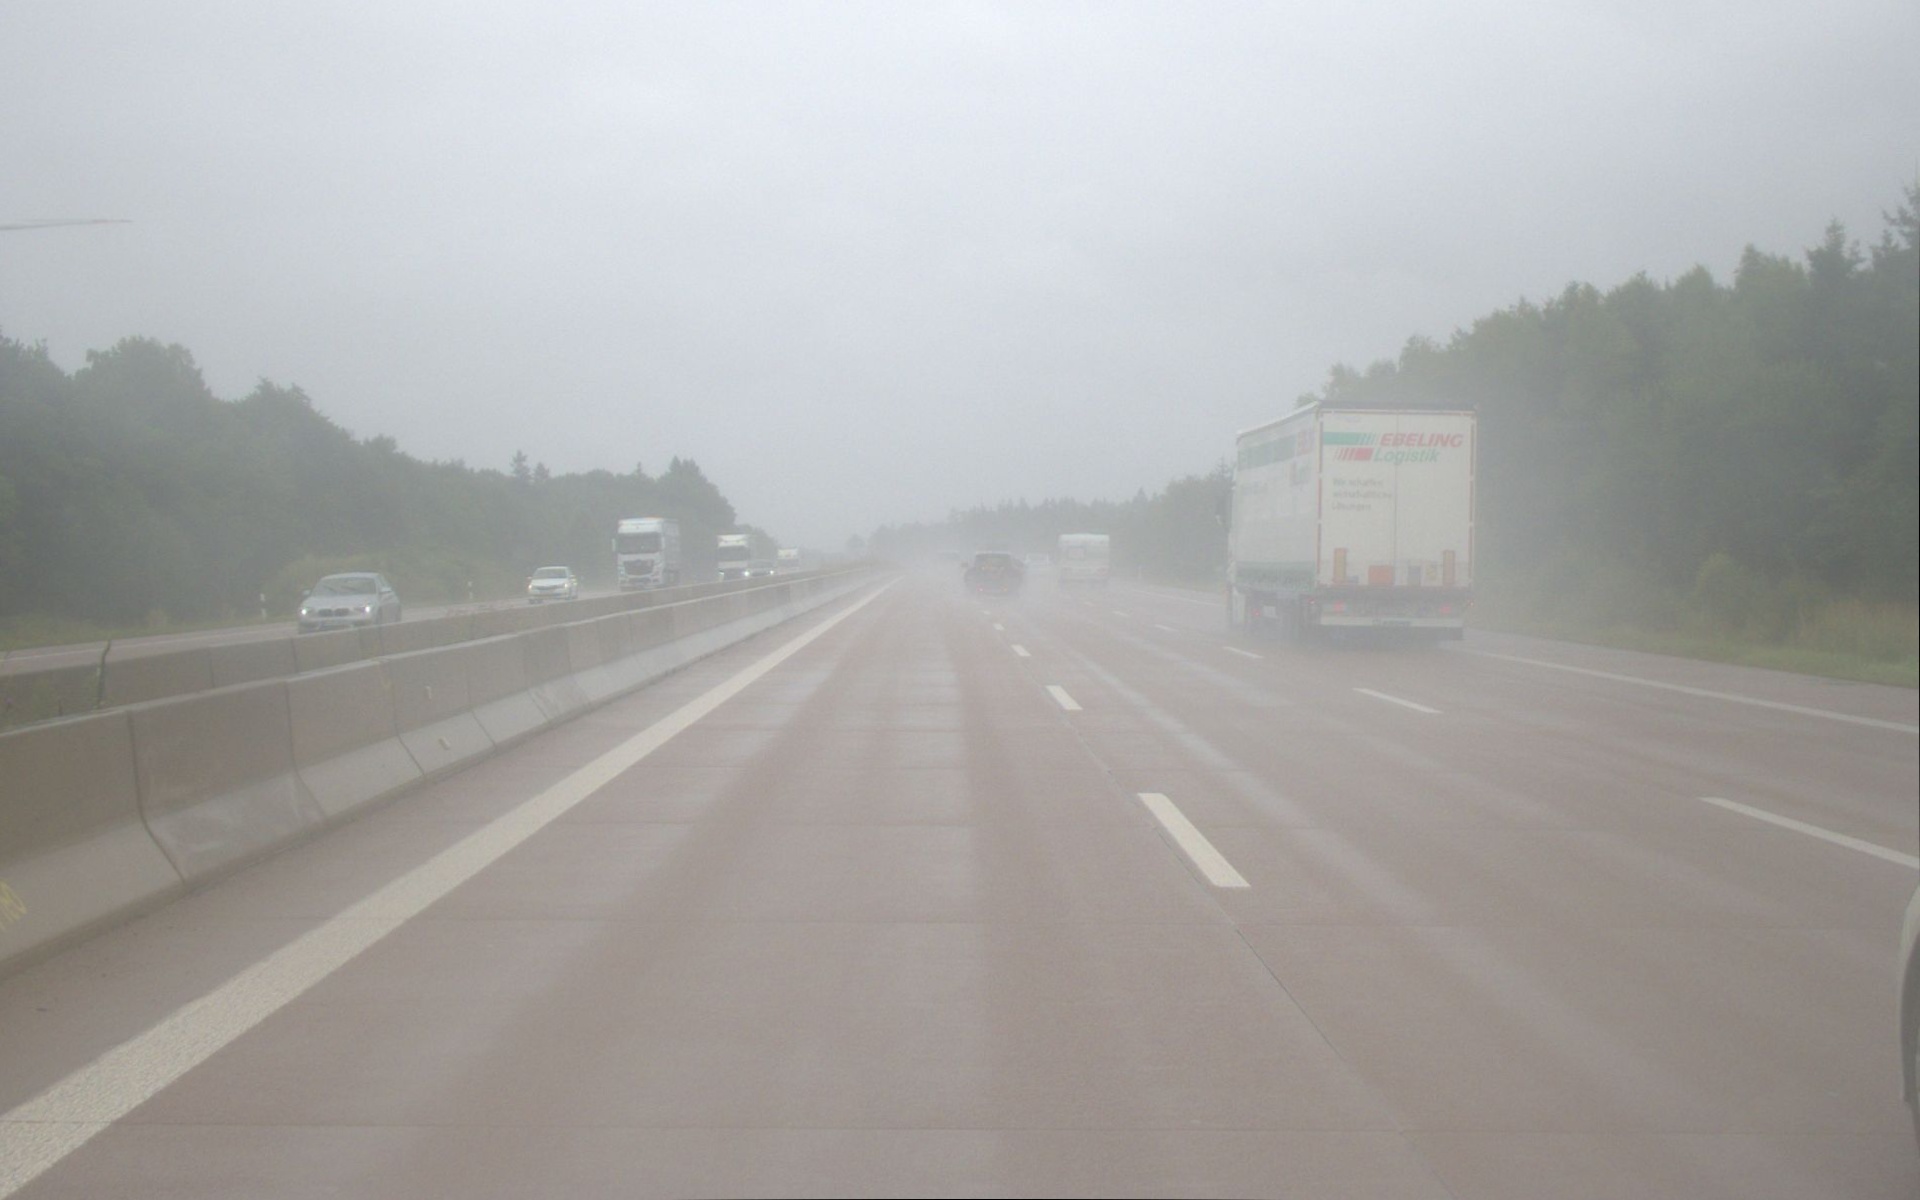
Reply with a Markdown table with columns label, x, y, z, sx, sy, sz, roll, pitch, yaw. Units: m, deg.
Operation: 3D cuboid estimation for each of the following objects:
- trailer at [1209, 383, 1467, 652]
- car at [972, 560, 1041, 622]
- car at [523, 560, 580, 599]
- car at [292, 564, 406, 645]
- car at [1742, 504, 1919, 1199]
| label | x | y | z | sx | sy | sz | roll | pitch | yaw |
| --- | --- | --- | --- | --- | --- | --- | --- | --- | --- |
| trailer | 6.517 | -1.467 | 61.480 | 2.852 | 4.217 | 13.133 | -1 | 1 | -1 |
| car | 1.510 | -0.307 | 113.468 | 2.173 | 1.974 | 4.130 | 1 | 0 | 0 |
| car | -16.483 | -0.838 | 138.923 | 1.754 | 1.475 | 4.583 | -3 | 1 | 0 |
| car | -13.353 | 0.075 | 75.351 | 1.808 | 1.626 | 4.506 | -2 | 1 | -2 |
| car | 3.109 | 0.670 | 7.090 | 1.808 | 1.722 | 4.744 | 1 | 1 | -1 |
